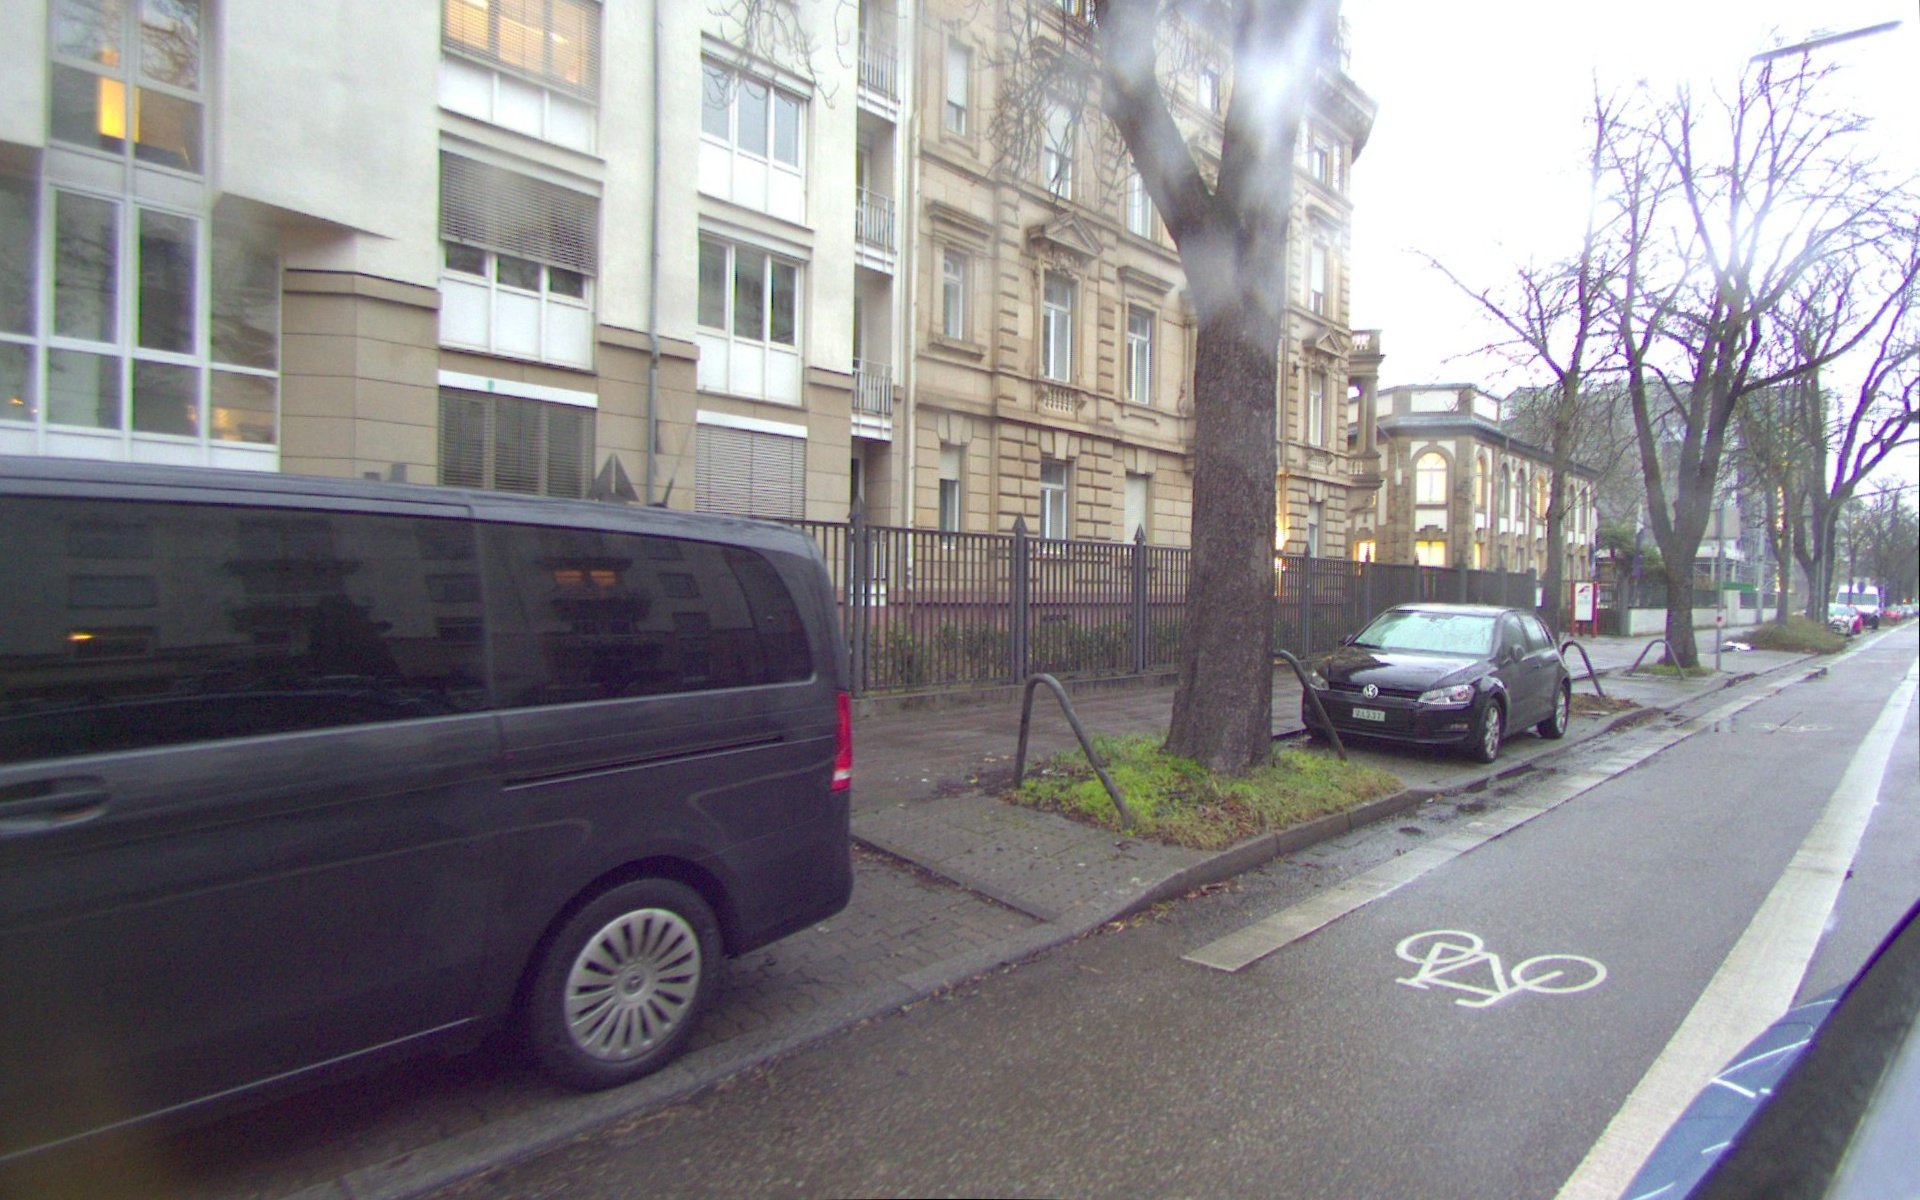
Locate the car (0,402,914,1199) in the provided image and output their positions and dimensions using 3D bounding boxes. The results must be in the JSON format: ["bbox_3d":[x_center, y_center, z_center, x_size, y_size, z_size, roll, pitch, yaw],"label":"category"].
[{"bbox_3d":[-2.625,0.515,2.826,4.882,1.899,2.032,0,2,-45],"label":"car"}]

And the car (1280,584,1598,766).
[{"bbox_3d":[5.174,0.637,10.656,1.758,1.463,4.091,4,2,44],"label":"car"}]

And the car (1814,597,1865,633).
[{"bbox_3d":[38.373,0.610,44.127,1.623,1.425,3.939,0,1,42],"label":"car"}]

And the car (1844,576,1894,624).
[{"bbox_3d":[52.296,-0.036,58.235,2.086,2.670,5.367,0,1,42],"label":"car"}]

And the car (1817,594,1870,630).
[{"bbox_3d":[44.956,0.556,51.490,1.992,1.703,3.939,0,1,42],"label":"car"}]
